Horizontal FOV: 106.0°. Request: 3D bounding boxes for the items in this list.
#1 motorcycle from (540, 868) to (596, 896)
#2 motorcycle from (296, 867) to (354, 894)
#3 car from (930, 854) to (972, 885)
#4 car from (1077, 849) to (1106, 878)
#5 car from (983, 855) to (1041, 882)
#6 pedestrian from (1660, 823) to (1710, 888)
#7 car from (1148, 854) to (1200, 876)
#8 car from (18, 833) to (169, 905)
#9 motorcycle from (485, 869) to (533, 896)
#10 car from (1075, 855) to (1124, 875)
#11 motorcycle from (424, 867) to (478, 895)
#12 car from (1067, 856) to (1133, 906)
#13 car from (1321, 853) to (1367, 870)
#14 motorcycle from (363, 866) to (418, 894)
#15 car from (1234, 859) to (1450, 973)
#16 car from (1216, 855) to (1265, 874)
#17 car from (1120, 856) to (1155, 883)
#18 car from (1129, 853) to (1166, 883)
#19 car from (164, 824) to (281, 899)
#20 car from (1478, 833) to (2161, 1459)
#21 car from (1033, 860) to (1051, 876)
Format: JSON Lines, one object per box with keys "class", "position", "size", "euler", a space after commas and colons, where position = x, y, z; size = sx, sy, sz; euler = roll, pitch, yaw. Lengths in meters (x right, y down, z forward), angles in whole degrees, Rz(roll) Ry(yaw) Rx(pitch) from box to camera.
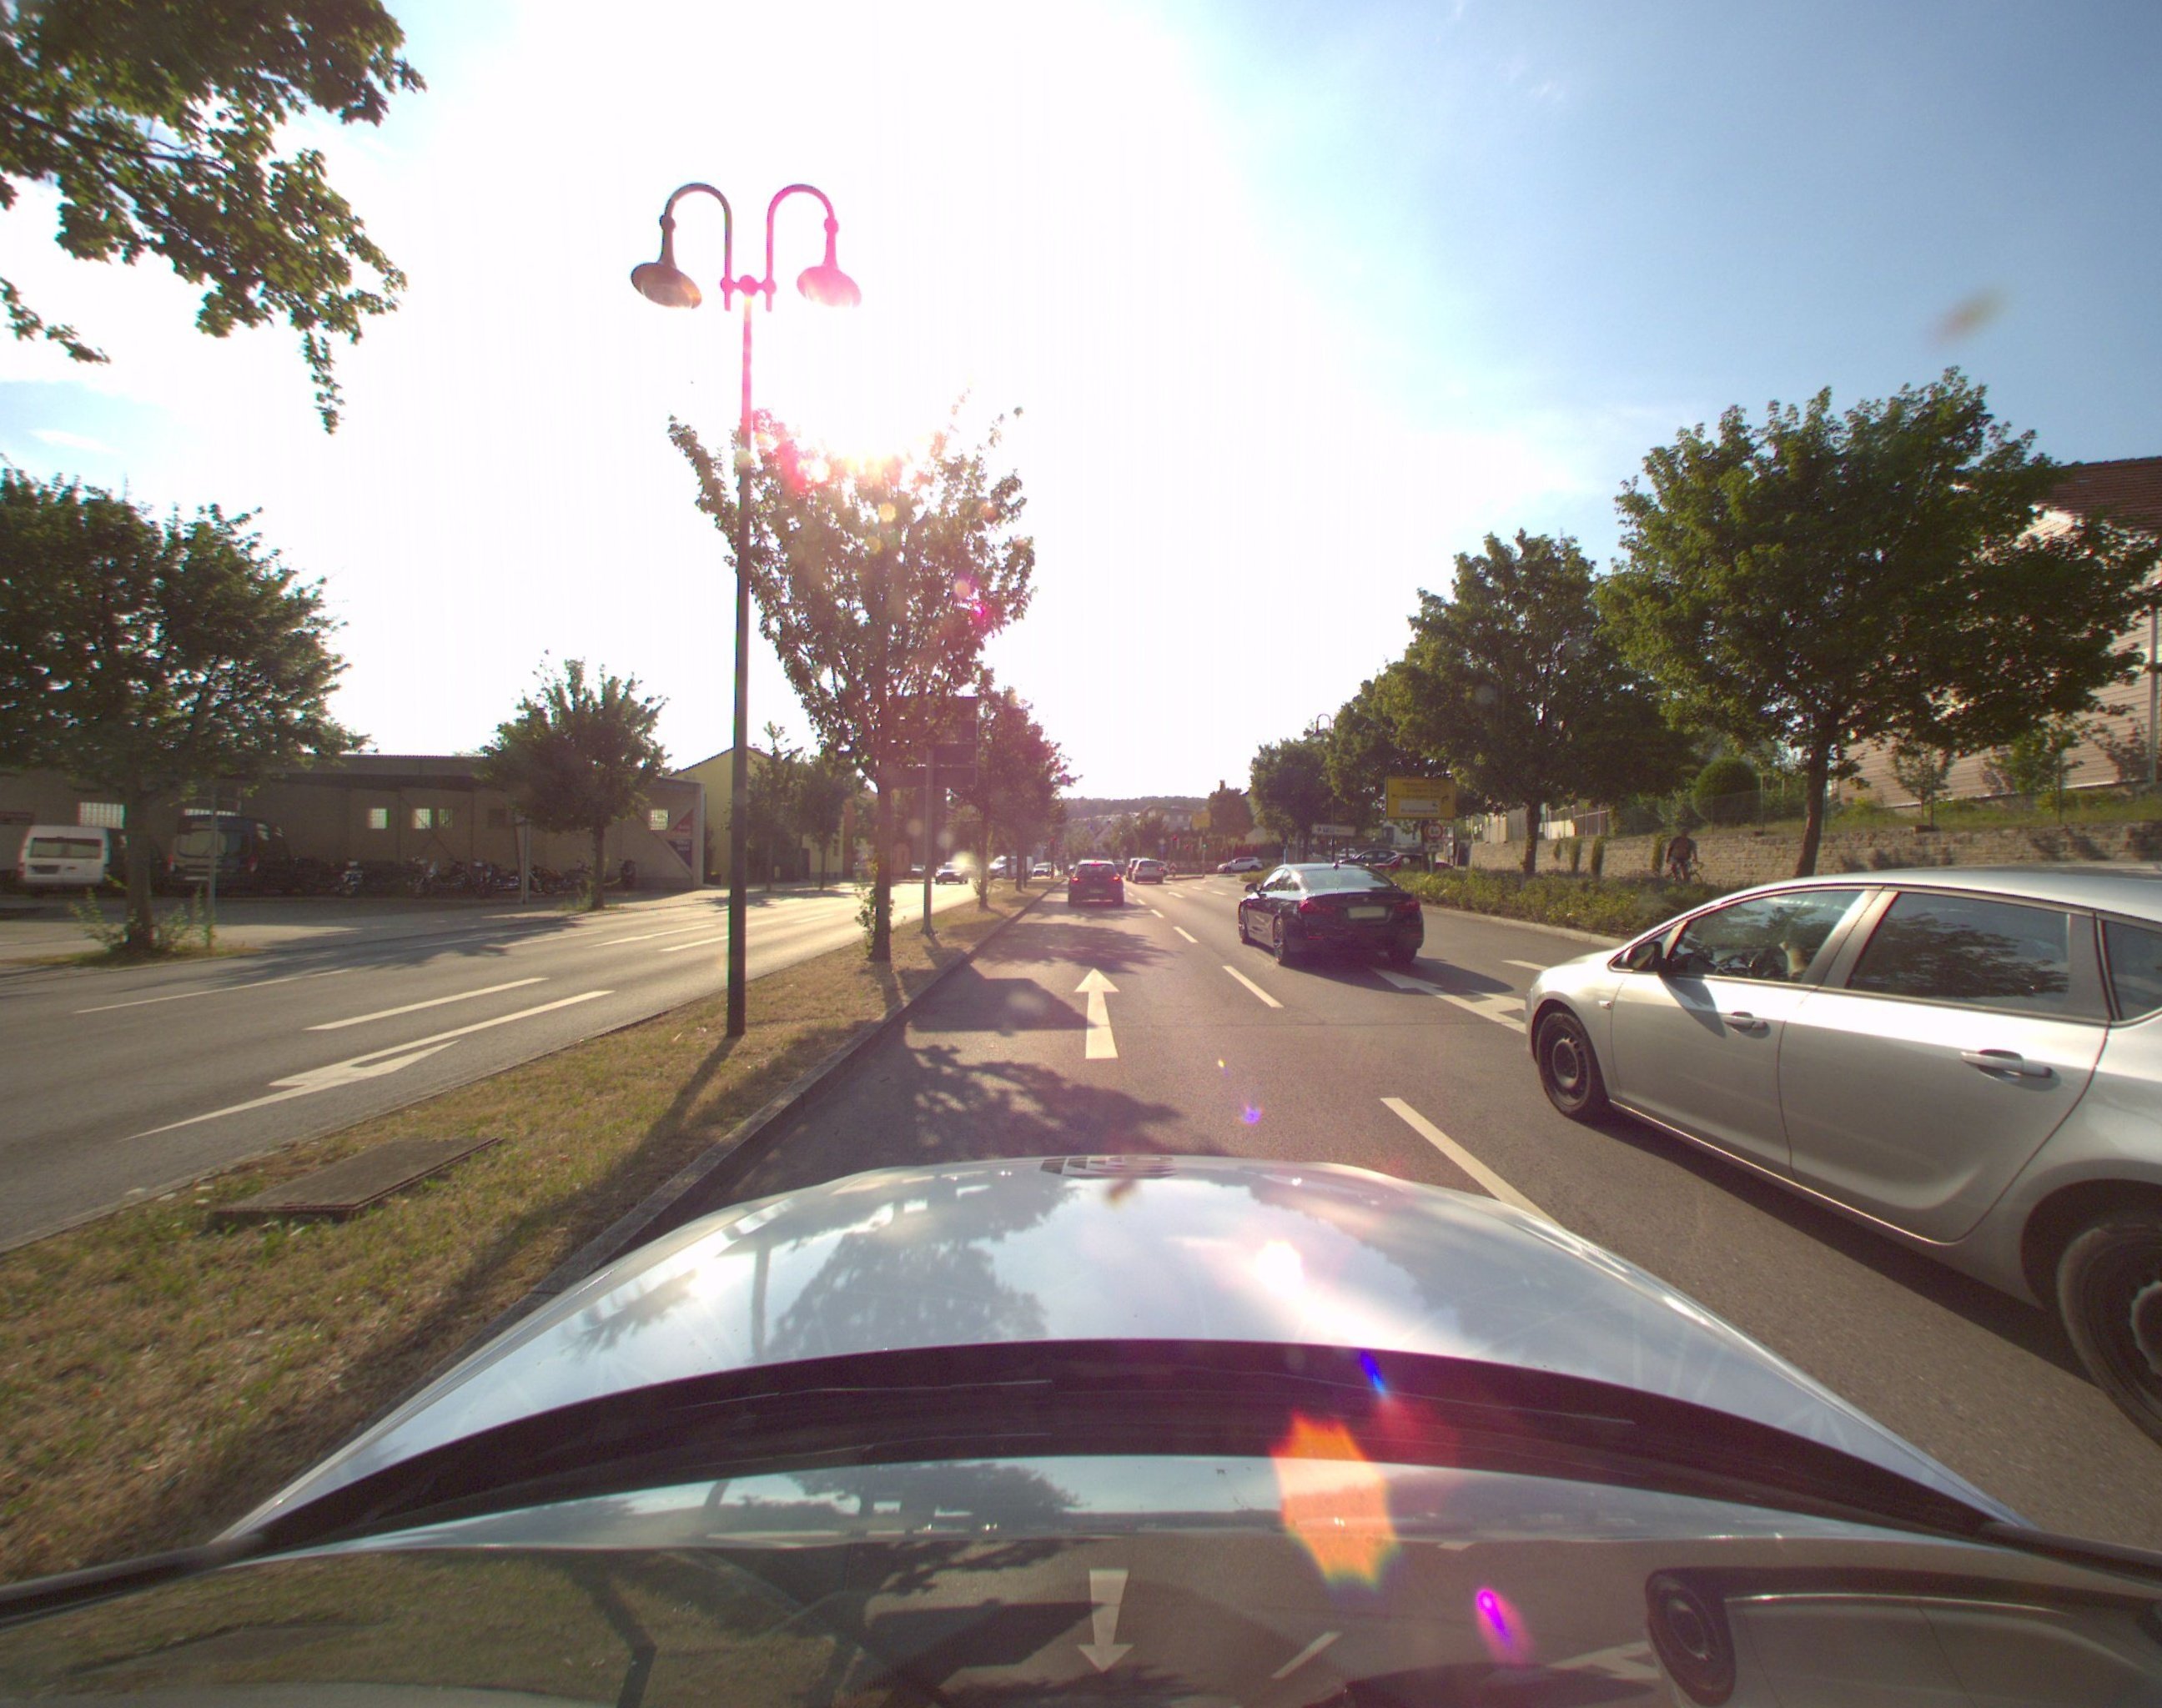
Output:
{"class": "motorcycle", "position": [-20.998, 1.125, 33.368], "size": [0.510, 1.069, 1.882], "euler": [-1, 0, 36]}
{"class": "motorcycle", "position": [-30.965, 1.079, 33.387], "size": [0.510, 1.069, 1.647], "euler": [-1, 0, 32]}
{"class": "car", "position": [-8.743, 1.009, 55.157], "size": [2.134, 2.008, 5.120], "euler": [-1, 0, -2]}
{"class": "car", "position": [0.647, 0.575, 51.913], "size": [1.750, 1.769, 3.970], "euler": [-1, 0, 0]}
{"class": "car", "position": [-5.813, 1.176, 69.005], "size": [2.119, 2.130, 5.158], "euler": [-1, 0, 33]}
{"class": "pedestrian", "position": [16.059, 0.040, 21.673], "size": [0.691, 1.703, 0.952], "euler": [-1, 0, 8]}
{"class": "car", "position": [8.863, 1.028, 77.755], "size": [4.537, 1.929, 2.138], "euler": [-1, 0, -11]}
{"class": "car", "position": [-33.134, 0.467, 27.503], "size": [2.051, 2.150, 4.275], "euler": [3, 0, -35]}
{"class": "motorcycle", "position": [-23.363, 1.153, 33.287], "size": [0.510, 1.005, 1.552], "euler": [-1, 0, 31]}
{"class": "car", "position": [1.943, 1.132, 83.399], "size": [4.928, 1.929, 2.147], "euler": [-1, 0, 2]}
{"class": "motorcycle", "position": [-25.919, 1.109, 33.532], "size": [0.510, 1.069, 1.647], "euler": [-1, 0, 32]}
{"class": "car", "position": [0.703, 0.825, 26.803], "size": [1.711, 1.490, 4.362], "euler": [0, 0, 7]}
{"class": "car", "position": [30.280, 0.853, 93.704], "size": [4.619, 1.829, 1.998], "euler": [-1, 0, -3]}
{"class": "motorcycle", "position": [-28.372, 1.062, 33.476], "size": [0.510, 1.107, 1.647], "euler": [-1, 0, 32]}
{"class": "car", "position": [3.608, 0.774, 12.163], "size": [1.913, 1.364, 4.354], "euler": [-1, 0, 1]}
{"class": "car", "position": [16.702, 1.093, 85.390], "size": [4.619, 1.829, 1.998], "euler": [-1, 0, -3]}
{"class": "car", "position": [4.015, 1.063, 58.374], "size": [2.210, 1.769, 4.454], "euler": [-1, 0, 0]}
{"class": "car", "position": [4.081, 0.818, 50.650], "size": [1.919, 1.769, 4.454], "euler": [-1, 0, 0]}
{"class": "car", "position": [-29.568, 0.198, 28.203], "size": [2.052, 2.335, 4.272], "euler": [3, 0, -38]}
{"class": "car", "position": [3.495, 0.677, 3.384], "size": [1.714, 1.490, 4.309], "euler": [-1, 1, 2]}
{"class": "car", "position": [-4.385, 1.563, 92.838], "size": [1.723, 1.679, 4.002], "euler": [-1, 0, 2]}
